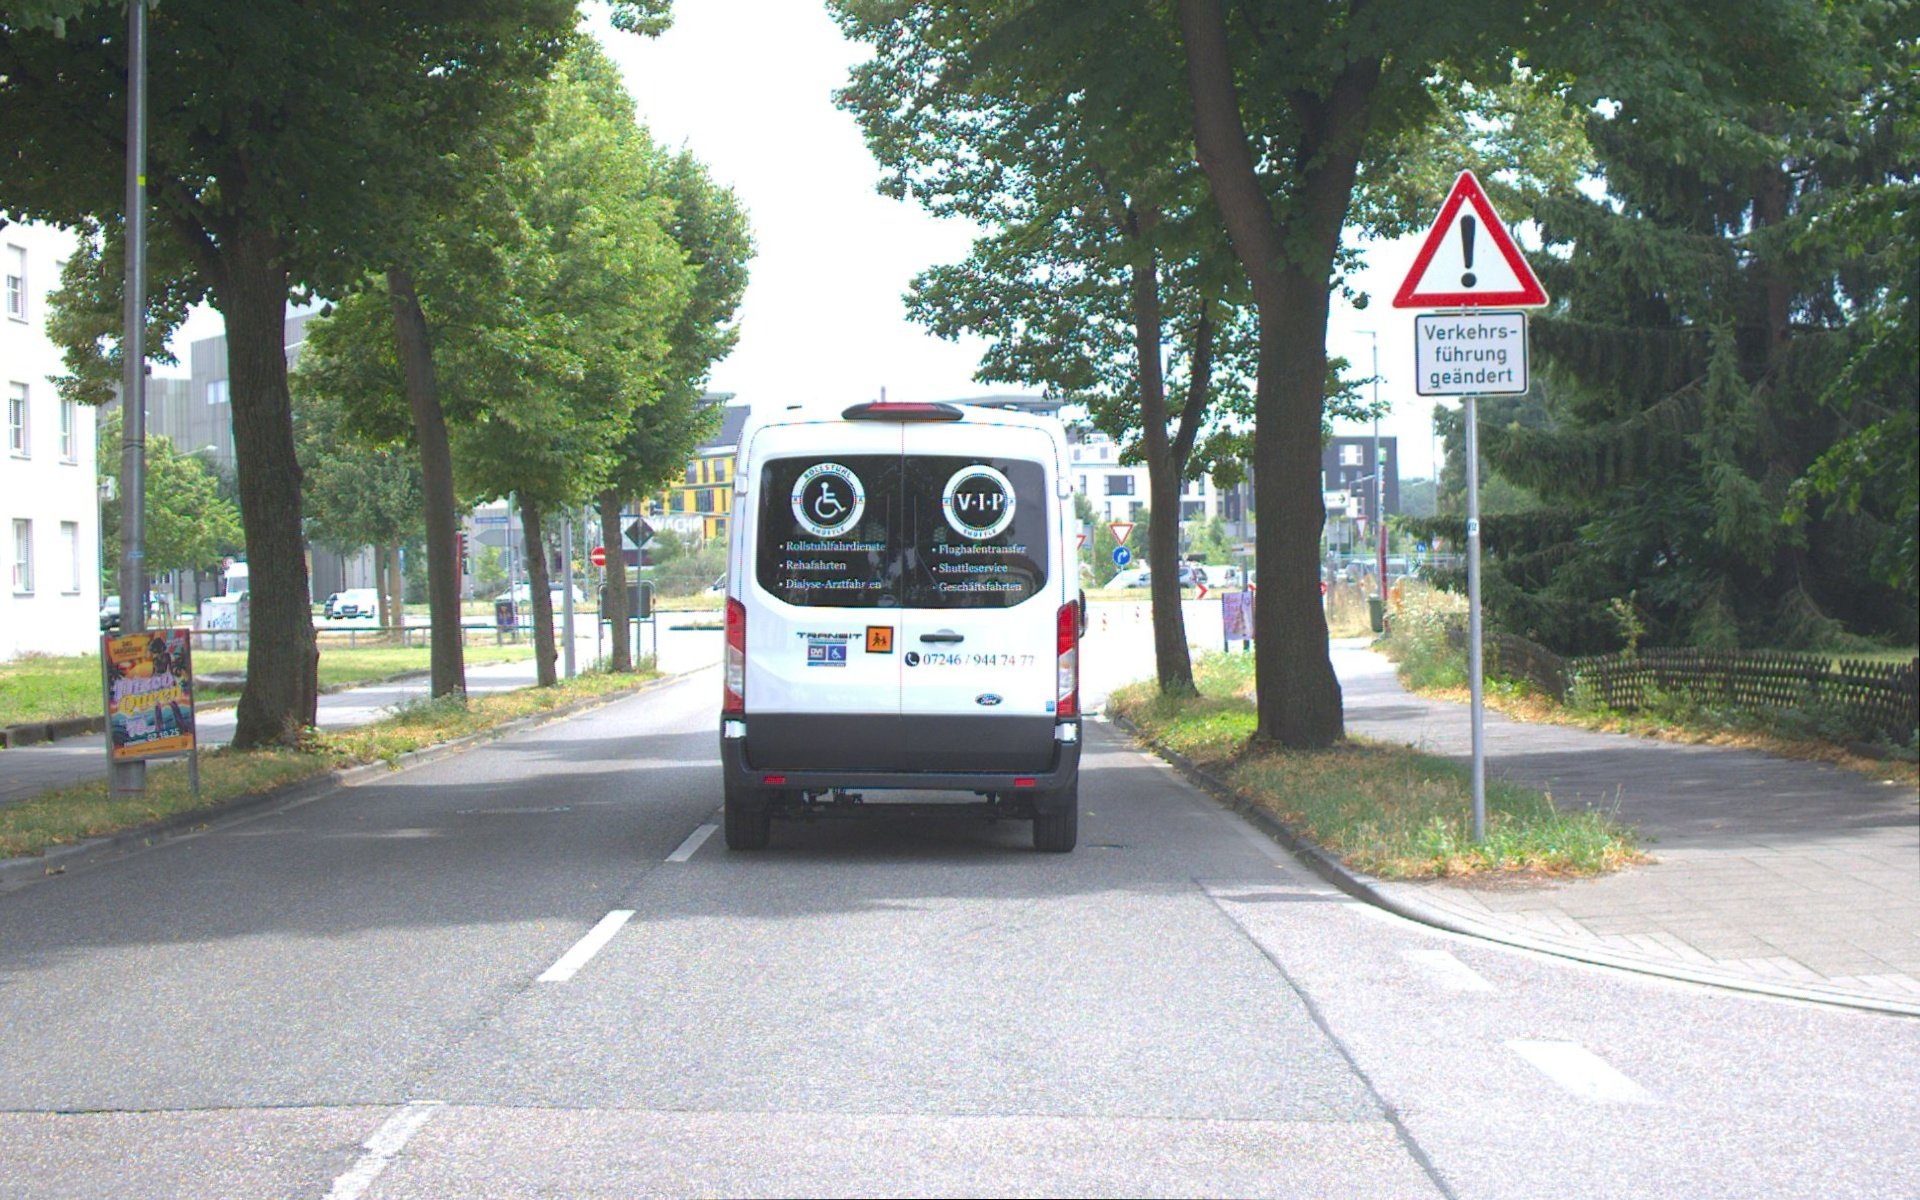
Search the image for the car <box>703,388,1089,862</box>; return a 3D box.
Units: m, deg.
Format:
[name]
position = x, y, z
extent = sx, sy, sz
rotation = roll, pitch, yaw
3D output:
[car]
position = -0.381, 0.138, 20.387
extent = 2.062, 2.531, 4.000
rotation = 0, 0, -1
